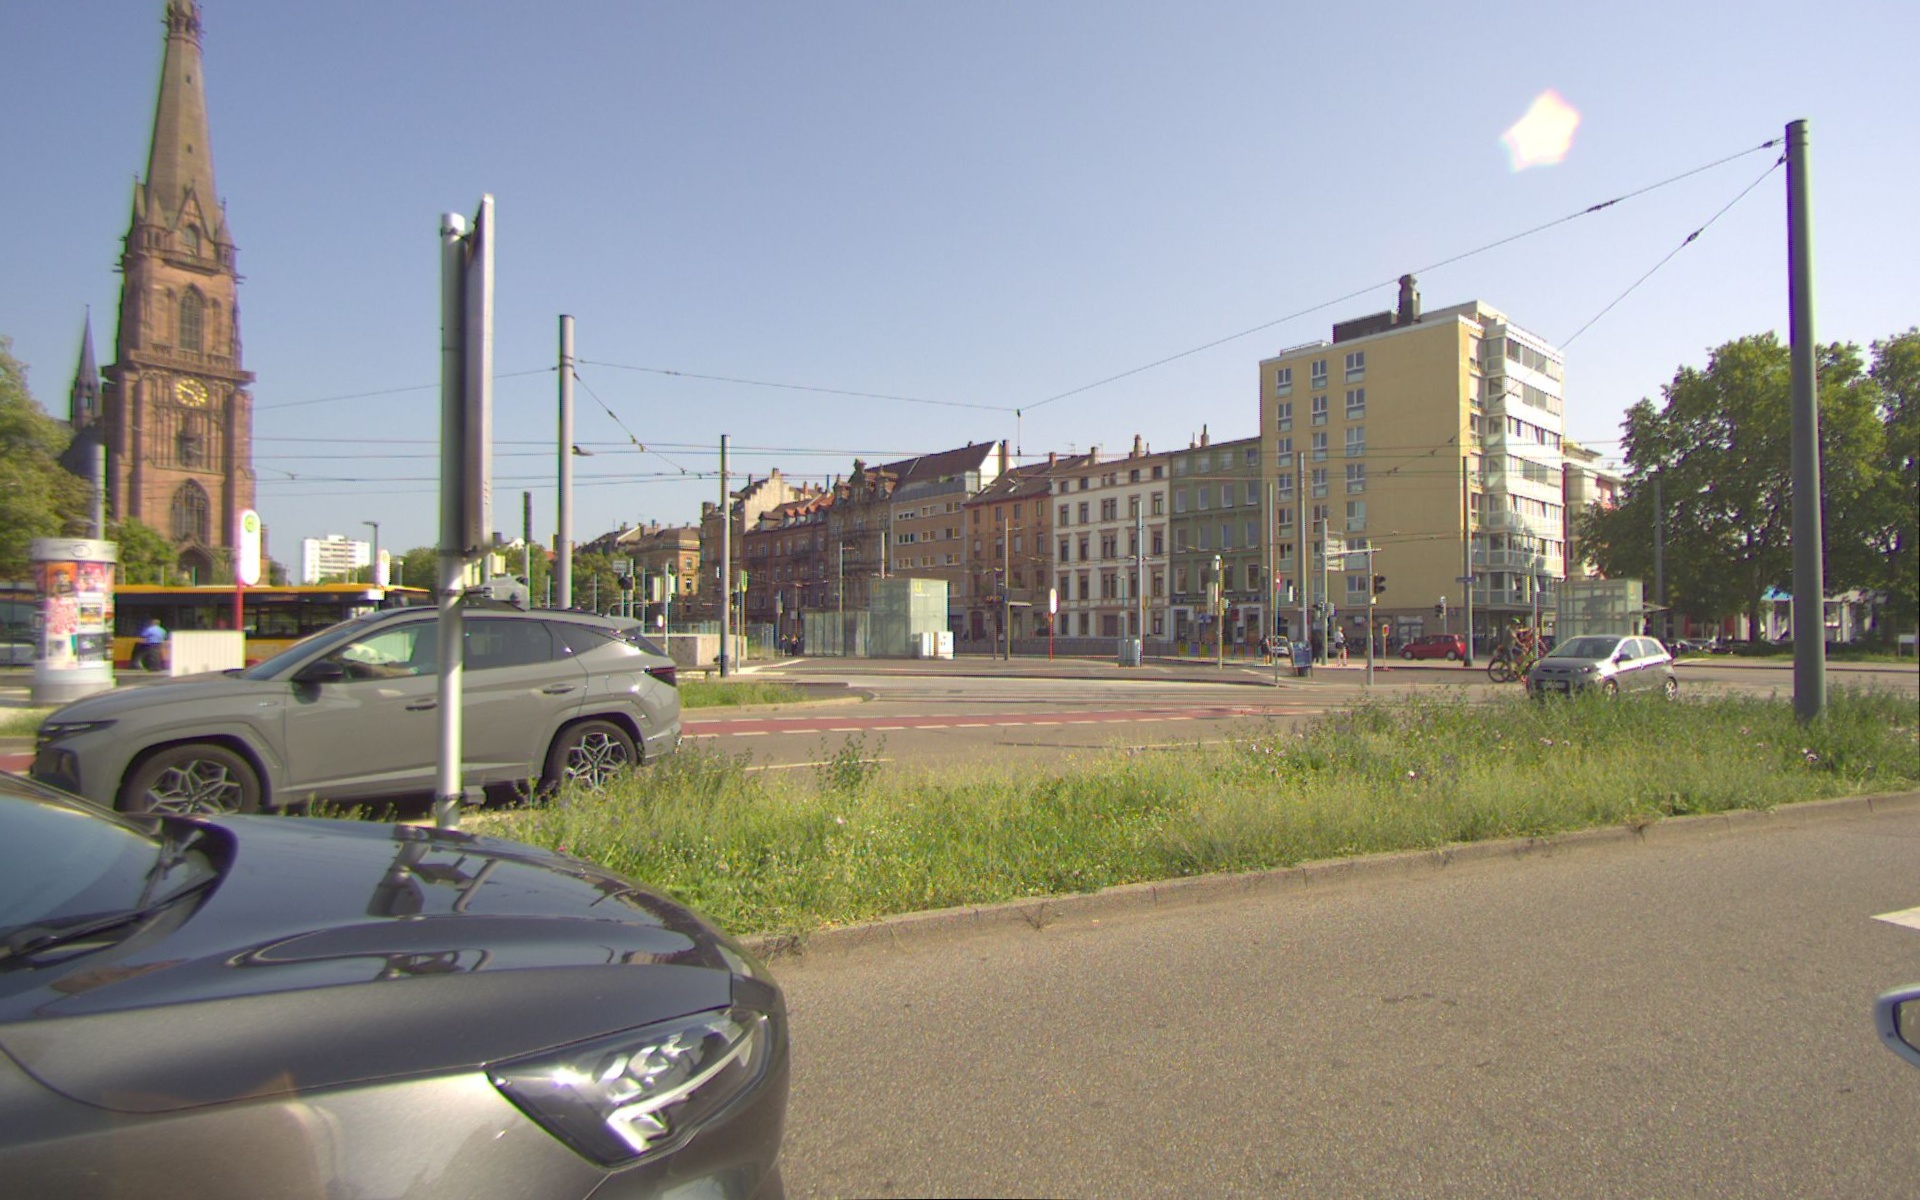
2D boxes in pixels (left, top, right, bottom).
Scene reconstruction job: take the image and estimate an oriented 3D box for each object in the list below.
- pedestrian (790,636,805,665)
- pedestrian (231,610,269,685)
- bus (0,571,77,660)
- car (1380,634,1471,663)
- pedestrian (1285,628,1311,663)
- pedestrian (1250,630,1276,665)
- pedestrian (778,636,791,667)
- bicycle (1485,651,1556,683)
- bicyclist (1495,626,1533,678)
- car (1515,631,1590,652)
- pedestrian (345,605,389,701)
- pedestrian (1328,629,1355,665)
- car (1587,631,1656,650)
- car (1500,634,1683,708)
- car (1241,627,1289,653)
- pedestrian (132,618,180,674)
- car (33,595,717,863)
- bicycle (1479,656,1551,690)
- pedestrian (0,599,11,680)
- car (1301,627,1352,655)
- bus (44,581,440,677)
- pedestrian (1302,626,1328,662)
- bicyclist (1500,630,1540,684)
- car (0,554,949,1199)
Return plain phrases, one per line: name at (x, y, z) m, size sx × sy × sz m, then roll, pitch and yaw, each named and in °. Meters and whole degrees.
pedestrian at (-10.072, 3.115, 62.414) m, size 0.743 × 1.806 × 0.702 m, roll 1°, pitch -2°, yaw -28°
pedestrian at (-17.602, 1.163, 24.931) m, size 0.693 × 1.824 × 0.773 m, roll 1°, pitch -2°, yaw -32°
bus at (-38.479, 0.561, 35.169) m, size 12.540 × 3.017 × 3.301 m, roll 0°, pitch -2°, yaw 3°
car at (25.876, 2.677, 55.886) m, size 4.342 × 1.555 × 1.825 m, roll -2°, pitch -2°, yaw 37°
pedestrian at (16.862, 2.247, 50.084) m, size 0.916 × 1.712 × 0.914 m, roll 1°, pitch -2°, yaw -42°
pedestrian at (15.249, 2.368, 50.573) m, size 0.916 × 1.712 × 0.914 m, roll 1°, pitch -2°, yaw -42°
pedestrian at (-10.835, 3.146, 61.952) m, size 0.645 × 1.891 × 0.716 m, roll 1°, pitch -2°, yaw -28°
bicycle at (17.624, 2.098, 31.614) m, size 0.719 × 0.944 × 1.800 m, roll 1°, pitch -2°, yaw -36°
bicyclist at (16.934, 1.579, 30.691) m, size 0.719 × 1.547 × 0.789 m, roll 1°, pitch -2°, yaw -36°
car at (39.809, 2.762, 67.582) m, size 1.471 × 1.372 × 4.117 m, roll 2°, pitch -2°, yaw -43°
pedestrian at (-11.594, 1.021, 19.639) m, size 0.693 × 1.824 × 0.773 m, roll 1°, pitch -2°, yaw -32°
pedestrian at (18.228, 2.223, 47.963) m, size 0.916 × 1.712 × 0.914 m, roll 1°, pitch -2°, yaw -42°
car at (50.056, 3.064, 76.038) m, size 1.567 × 1.372 × 4.117 m, roll 2°, pitch -2°, yaw -43°
car at (13.679, 1.466, 21.758) m, size 3.631 × 1.471 × 1.880 m, roll 1°, pitch -2°, yaw -30°
car at (21.061, 2.740, 69.594) m, size 1.960 × 1.700 × 4.551 m, roll 0°, pitch -1°, yaw 0°
pedestrian at (-25.560, 1.458, 31.928) m, size 0.819 × 1.761 × 0.831 m, roll 0°, pitch -2°, yaw 14°
car at (-4.397, 0.857, 8.172) m, size 4.420 × 1.638 × 1.682 m, roll 2°, pitch -2°, yaw -37°
bicycle at (16.935, 2.217, 30.677) m, size 0.719 × 0.944 × 1.800 m, roll 1°, pitch -2°, yaw -36°
pedestrian at (-19.322, 0.765, 19.498) m, size 0.970 × 1.579 × 0.866 m, roll 0°, pitch -2°, yaw 10°
car at (23.943, 2.654, 65.789) m, size 1.960 × 1.700 × 4.553 m, roll 0°, pitch -1°, yaw 4°
bus at (-24.627, 1.003, 34.755) m, size 11.969 × 3.149 × 2.718 m, roll 0°, pitch -2°, yaw 3°
pedestrian at (17.349, 2.146, 49.089) m, size 0.916 × 1.712 × 0.914 m, roll 1°, pitch -2°, yaw -42°
bicyclist at (17.628, 1.776, 31.610) m, size 0.719 × 1.674 × 0.875 m, roll 1°, pitch -2°, yaw -36°
car at (-2.400, 0.676, 1.272) m, size 4.498 × 1.454 × 1.823 m, roll 1°, pitch -2°, yaw -31°
